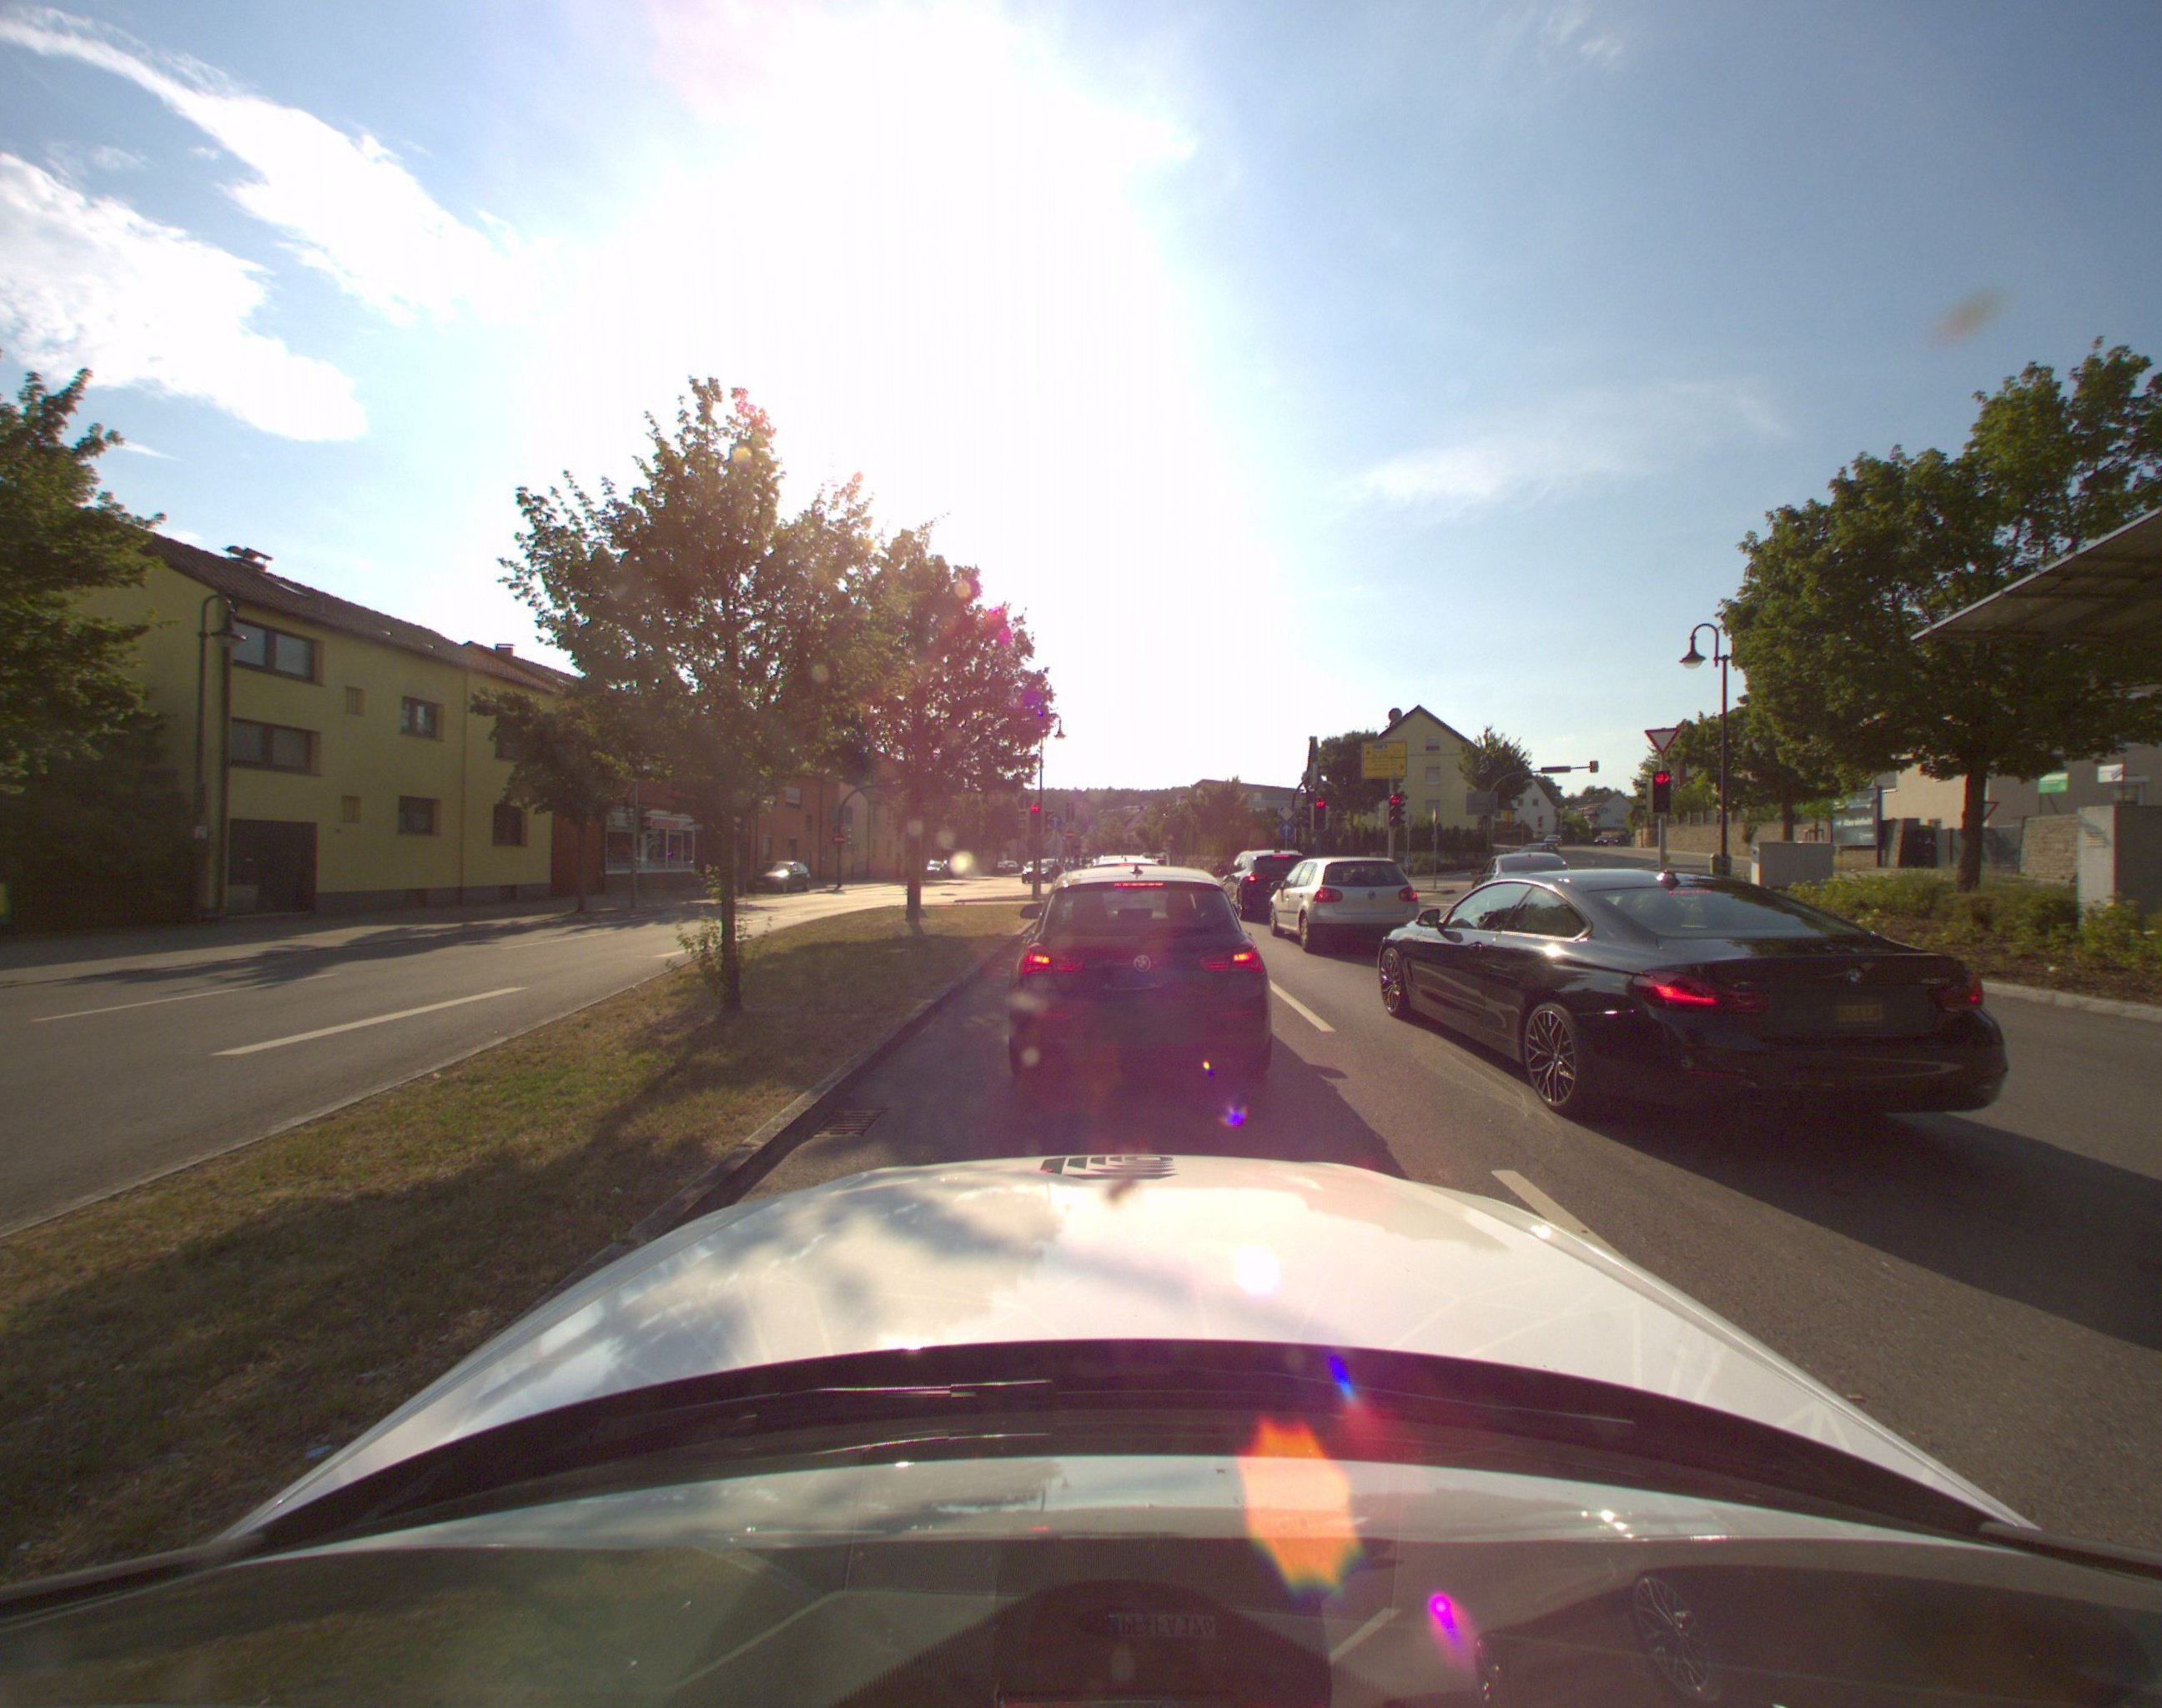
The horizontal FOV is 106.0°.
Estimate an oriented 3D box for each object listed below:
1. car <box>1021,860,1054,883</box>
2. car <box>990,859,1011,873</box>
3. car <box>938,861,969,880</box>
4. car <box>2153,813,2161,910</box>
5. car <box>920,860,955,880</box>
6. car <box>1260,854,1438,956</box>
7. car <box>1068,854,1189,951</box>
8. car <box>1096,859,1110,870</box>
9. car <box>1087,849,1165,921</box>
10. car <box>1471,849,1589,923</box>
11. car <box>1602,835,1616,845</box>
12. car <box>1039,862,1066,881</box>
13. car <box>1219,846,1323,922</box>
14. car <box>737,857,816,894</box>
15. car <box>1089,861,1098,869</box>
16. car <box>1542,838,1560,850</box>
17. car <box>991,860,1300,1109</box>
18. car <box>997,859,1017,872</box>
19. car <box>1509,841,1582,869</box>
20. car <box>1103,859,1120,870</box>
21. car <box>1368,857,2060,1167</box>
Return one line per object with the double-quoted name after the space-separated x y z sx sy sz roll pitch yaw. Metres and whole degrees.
-2.887 1.166 54.525 1.759 1.458 4.004 0 0 4 "car"
-9.621 1.389 97.718 1.916 1.596 4.004 0 0 4 "car"
-11.435 1.486 73.456 1.916 1.596 4.004 0 0 4 "car"
19.553 0.112 12.193 3.958 1.608 1.861 0 0 14 "car"
-11.865 1.320 67.452 1.916 1.596 4.004 0 0 4 "car"
4.283 0.732 13.766 1.808 1.446 4.351 -1 0 3 "car"
0.840 0.737 14.411 1.808 1.451 4.245 -1 0 3 "car"
3.554 1.674 132.666 1.887 1.702 4.518 -2 0 -4 "car"
1.175 0.726 21.081 1.808 1.641 4.245 -1 0 3 "car"
9.926 0.634 18.327 1.667 1.435 4.613 -1 0 21 "car"
87.357 -2.241 134.757 1.759 1.580 4.025 -1 0 37 "car"
-2.156 1.328 62.389 1.685 1.353 4.004 0 0 4 "car"
4.593 0.670 20.315 1.808 1.666 4.351 -1 0 3 "car"
-14.147 0.965 38.082 1.834 1.552 4.005 2 0 5 "car"
2.555 2.310 167.256 1.917 1.596 4.002 0 0 2 "car"
55.758 -1.192 96.514 1.694 1.244 4.027 0 3 32 "car"
0.499 0.775 6.906 1.783 1.414 4.351 -1 0 3 "car"
-9.313 1.398 103.220 1.916 1.596 4.004 0 0 4 "car"
27.659 0.038 48.439 4.078 1.507 1.777 -3 1 -26 "car"
4.081 1.412 111.177 1.858 1.485 4.652 0 0 -4 "car"
3.634 0.732 5.888 1.808 1.388 4.351 -1 0 3 "car"
